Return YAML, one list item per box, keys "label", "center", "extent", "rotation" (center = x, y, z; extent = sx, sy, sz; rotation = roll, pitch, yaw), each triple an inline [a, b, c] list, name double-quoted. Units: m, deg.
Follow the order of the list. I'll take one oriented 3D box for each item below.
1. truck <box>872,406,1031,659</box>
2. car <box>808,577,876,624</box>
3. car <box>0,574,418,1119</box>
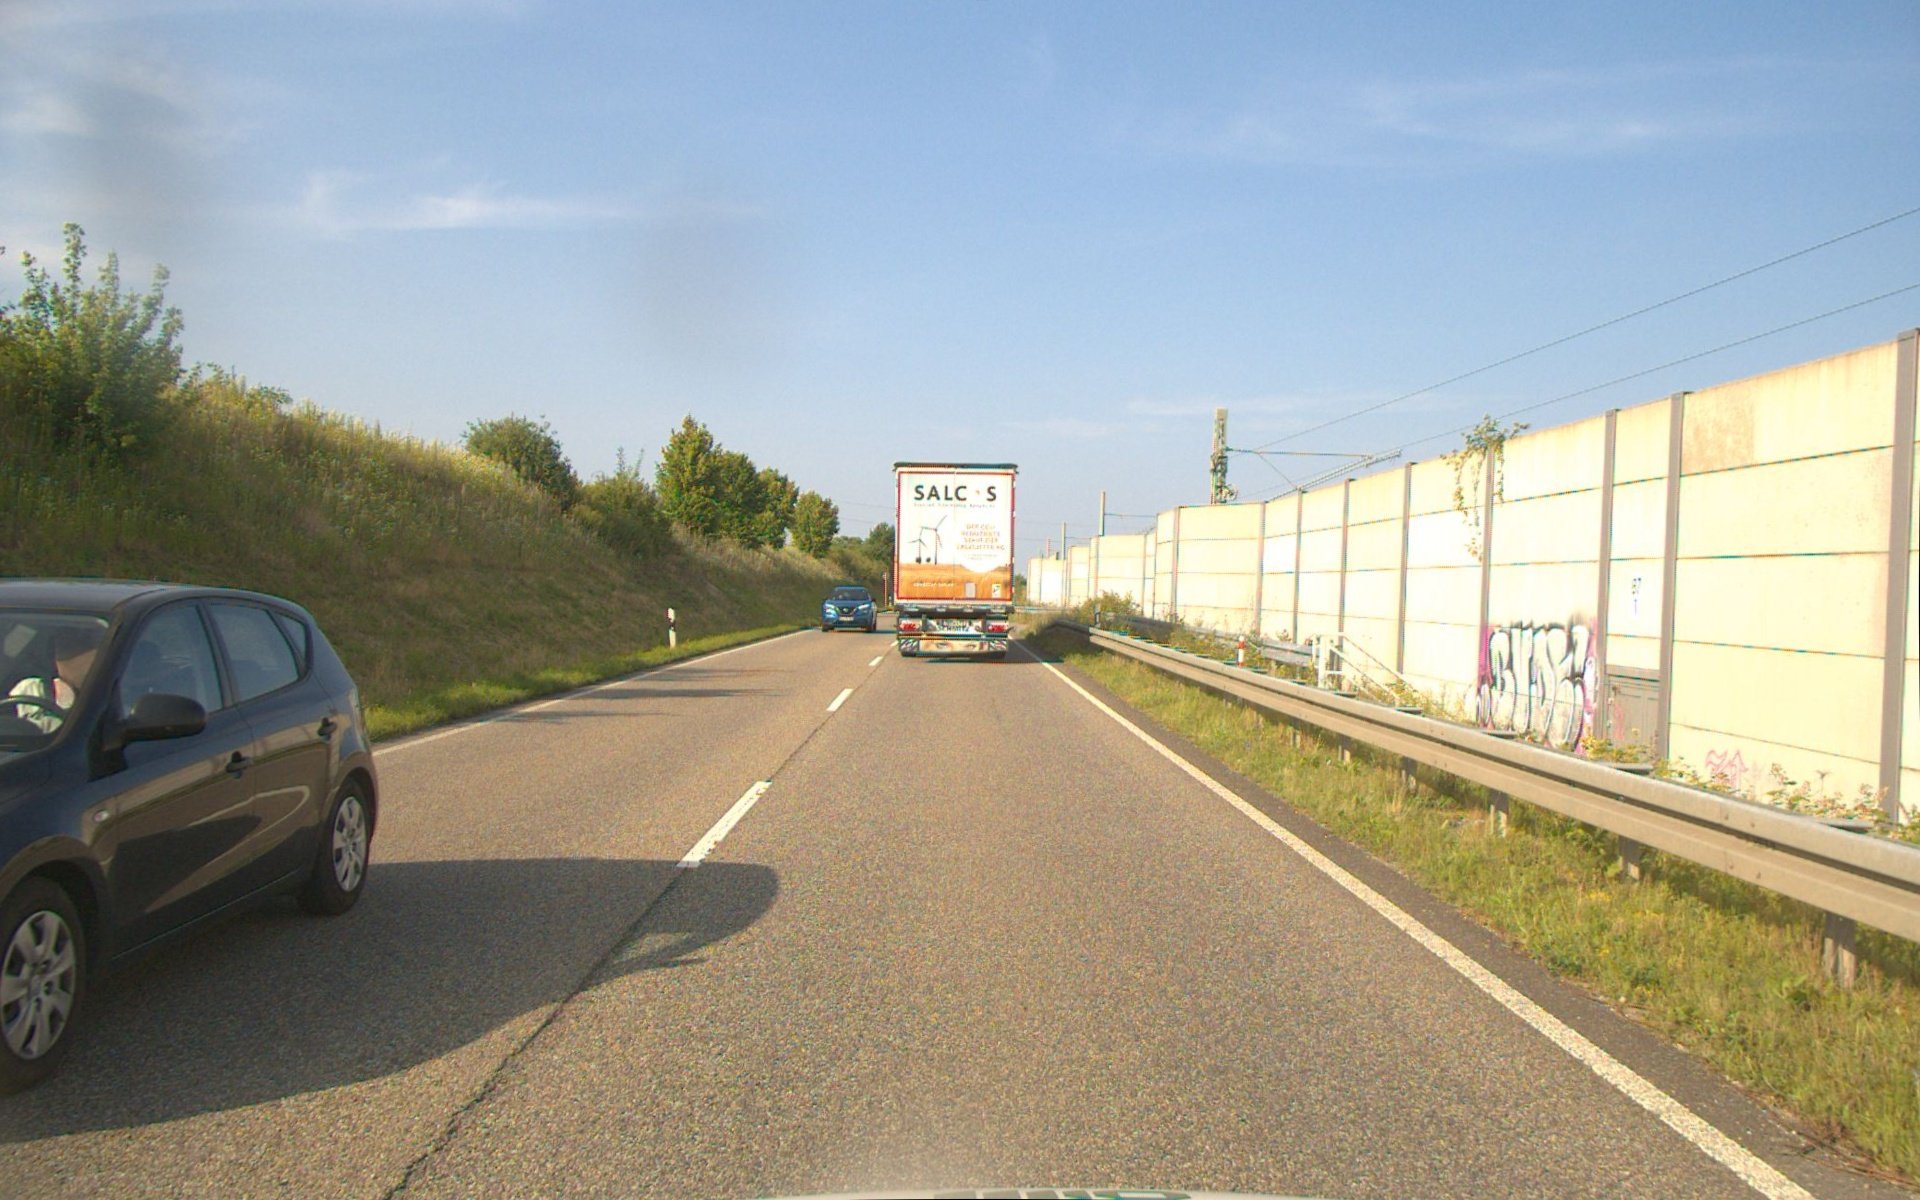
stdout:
- label: "truck"
  center: [-0.216, -1.438, 40.051]
  extent: [3.223, 5.179, 12.036]
  rotation: [1, 0, 0]
- label: "car"
  center: [-4.158, -0.005, 59.153]
  extent: [2.097, 1.601, 5.339]
  rotation: [0, 1, -1]
- label: "car"
  center: [-3.468, 0.647, 6.060]
  extent: [1.681, 1.479, 4.018]
  rotation: [1, 0, -1]
